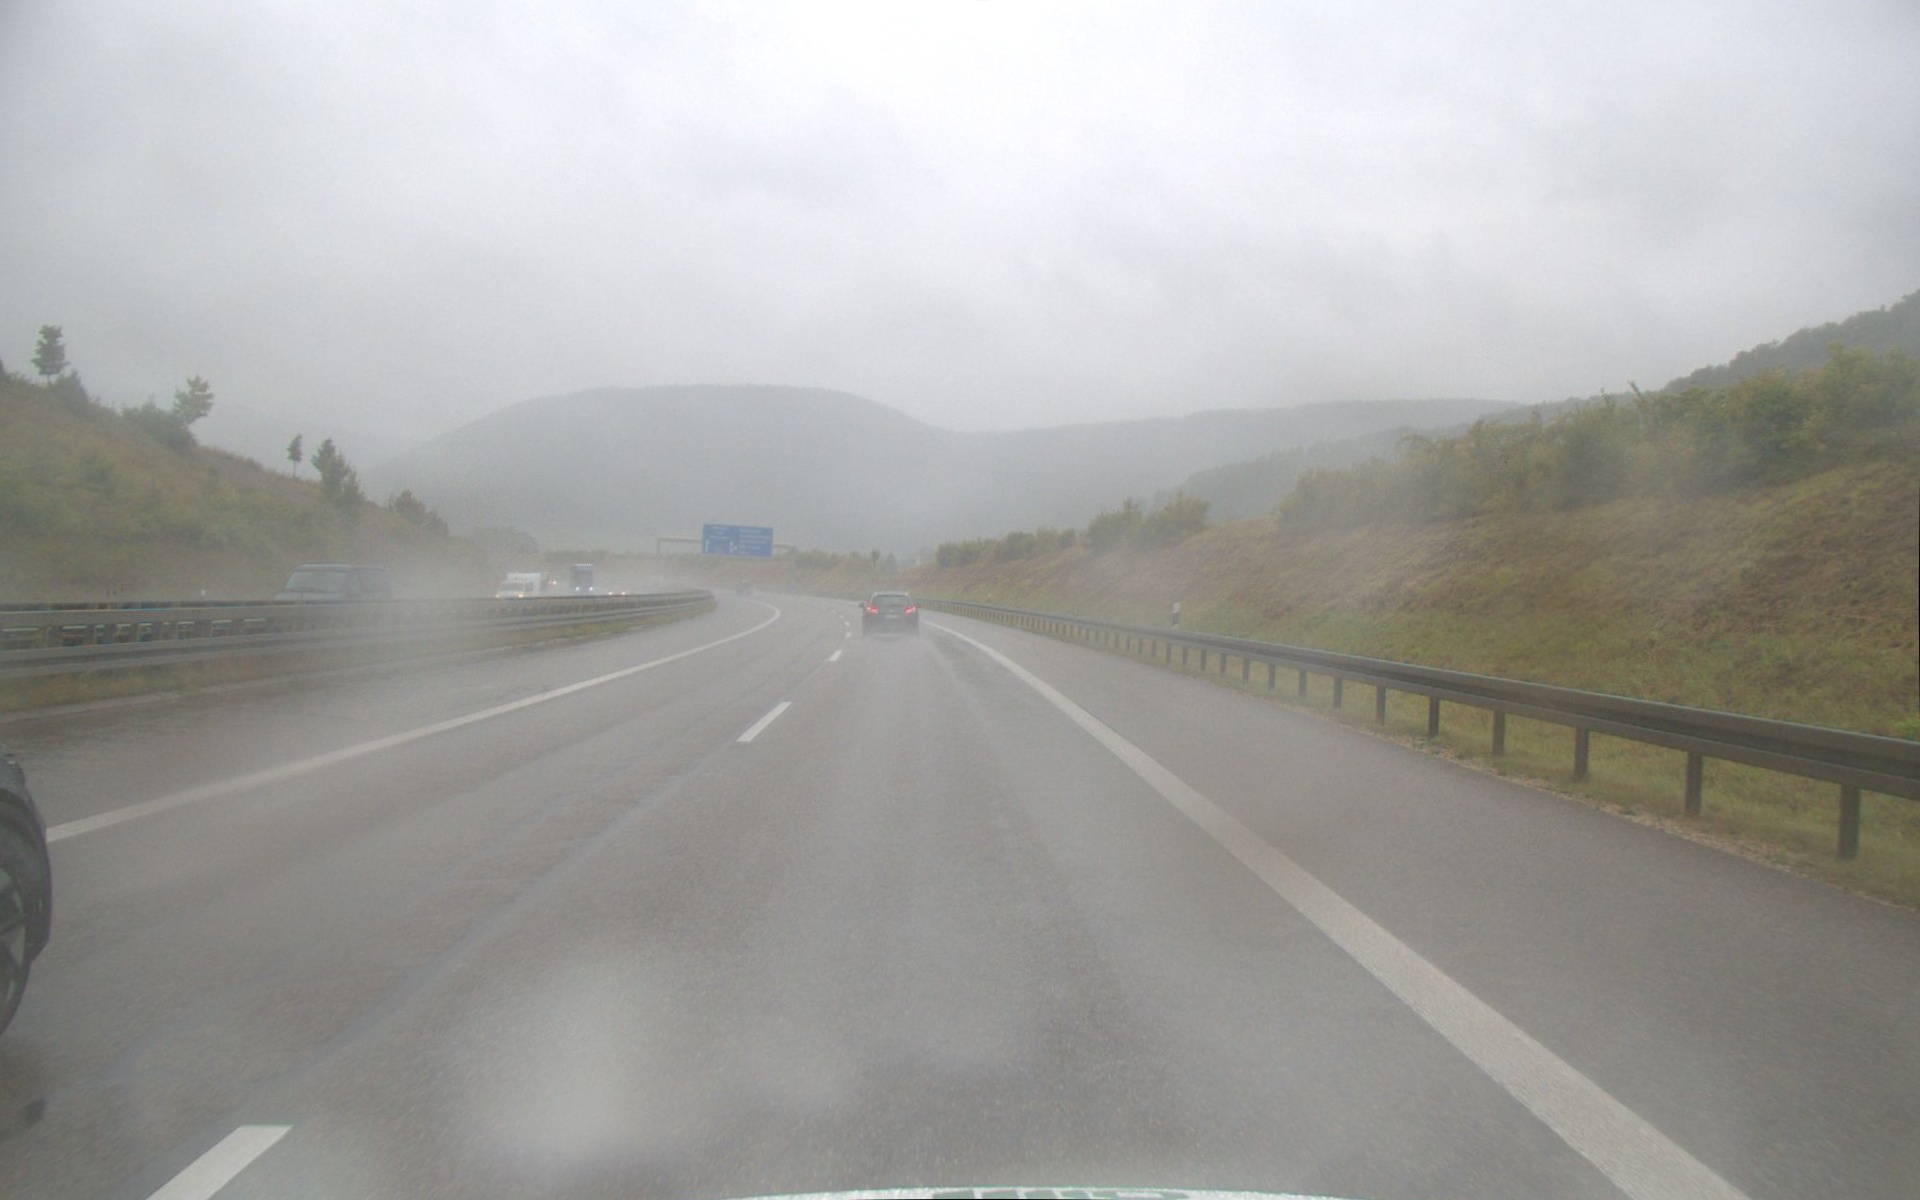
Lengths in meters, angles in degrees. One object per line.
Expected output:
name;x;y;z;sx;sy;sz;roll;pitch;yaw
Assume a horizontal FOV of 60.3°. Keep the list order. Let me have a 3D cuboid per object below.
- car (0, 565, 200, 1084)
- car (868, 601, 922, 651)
car;-4.028;0.659;3.773;2.357;1.542;4.784;1;0;0
car;-2.096;0.793;52.564;1.646;1.498;3.812;1;0;-3
